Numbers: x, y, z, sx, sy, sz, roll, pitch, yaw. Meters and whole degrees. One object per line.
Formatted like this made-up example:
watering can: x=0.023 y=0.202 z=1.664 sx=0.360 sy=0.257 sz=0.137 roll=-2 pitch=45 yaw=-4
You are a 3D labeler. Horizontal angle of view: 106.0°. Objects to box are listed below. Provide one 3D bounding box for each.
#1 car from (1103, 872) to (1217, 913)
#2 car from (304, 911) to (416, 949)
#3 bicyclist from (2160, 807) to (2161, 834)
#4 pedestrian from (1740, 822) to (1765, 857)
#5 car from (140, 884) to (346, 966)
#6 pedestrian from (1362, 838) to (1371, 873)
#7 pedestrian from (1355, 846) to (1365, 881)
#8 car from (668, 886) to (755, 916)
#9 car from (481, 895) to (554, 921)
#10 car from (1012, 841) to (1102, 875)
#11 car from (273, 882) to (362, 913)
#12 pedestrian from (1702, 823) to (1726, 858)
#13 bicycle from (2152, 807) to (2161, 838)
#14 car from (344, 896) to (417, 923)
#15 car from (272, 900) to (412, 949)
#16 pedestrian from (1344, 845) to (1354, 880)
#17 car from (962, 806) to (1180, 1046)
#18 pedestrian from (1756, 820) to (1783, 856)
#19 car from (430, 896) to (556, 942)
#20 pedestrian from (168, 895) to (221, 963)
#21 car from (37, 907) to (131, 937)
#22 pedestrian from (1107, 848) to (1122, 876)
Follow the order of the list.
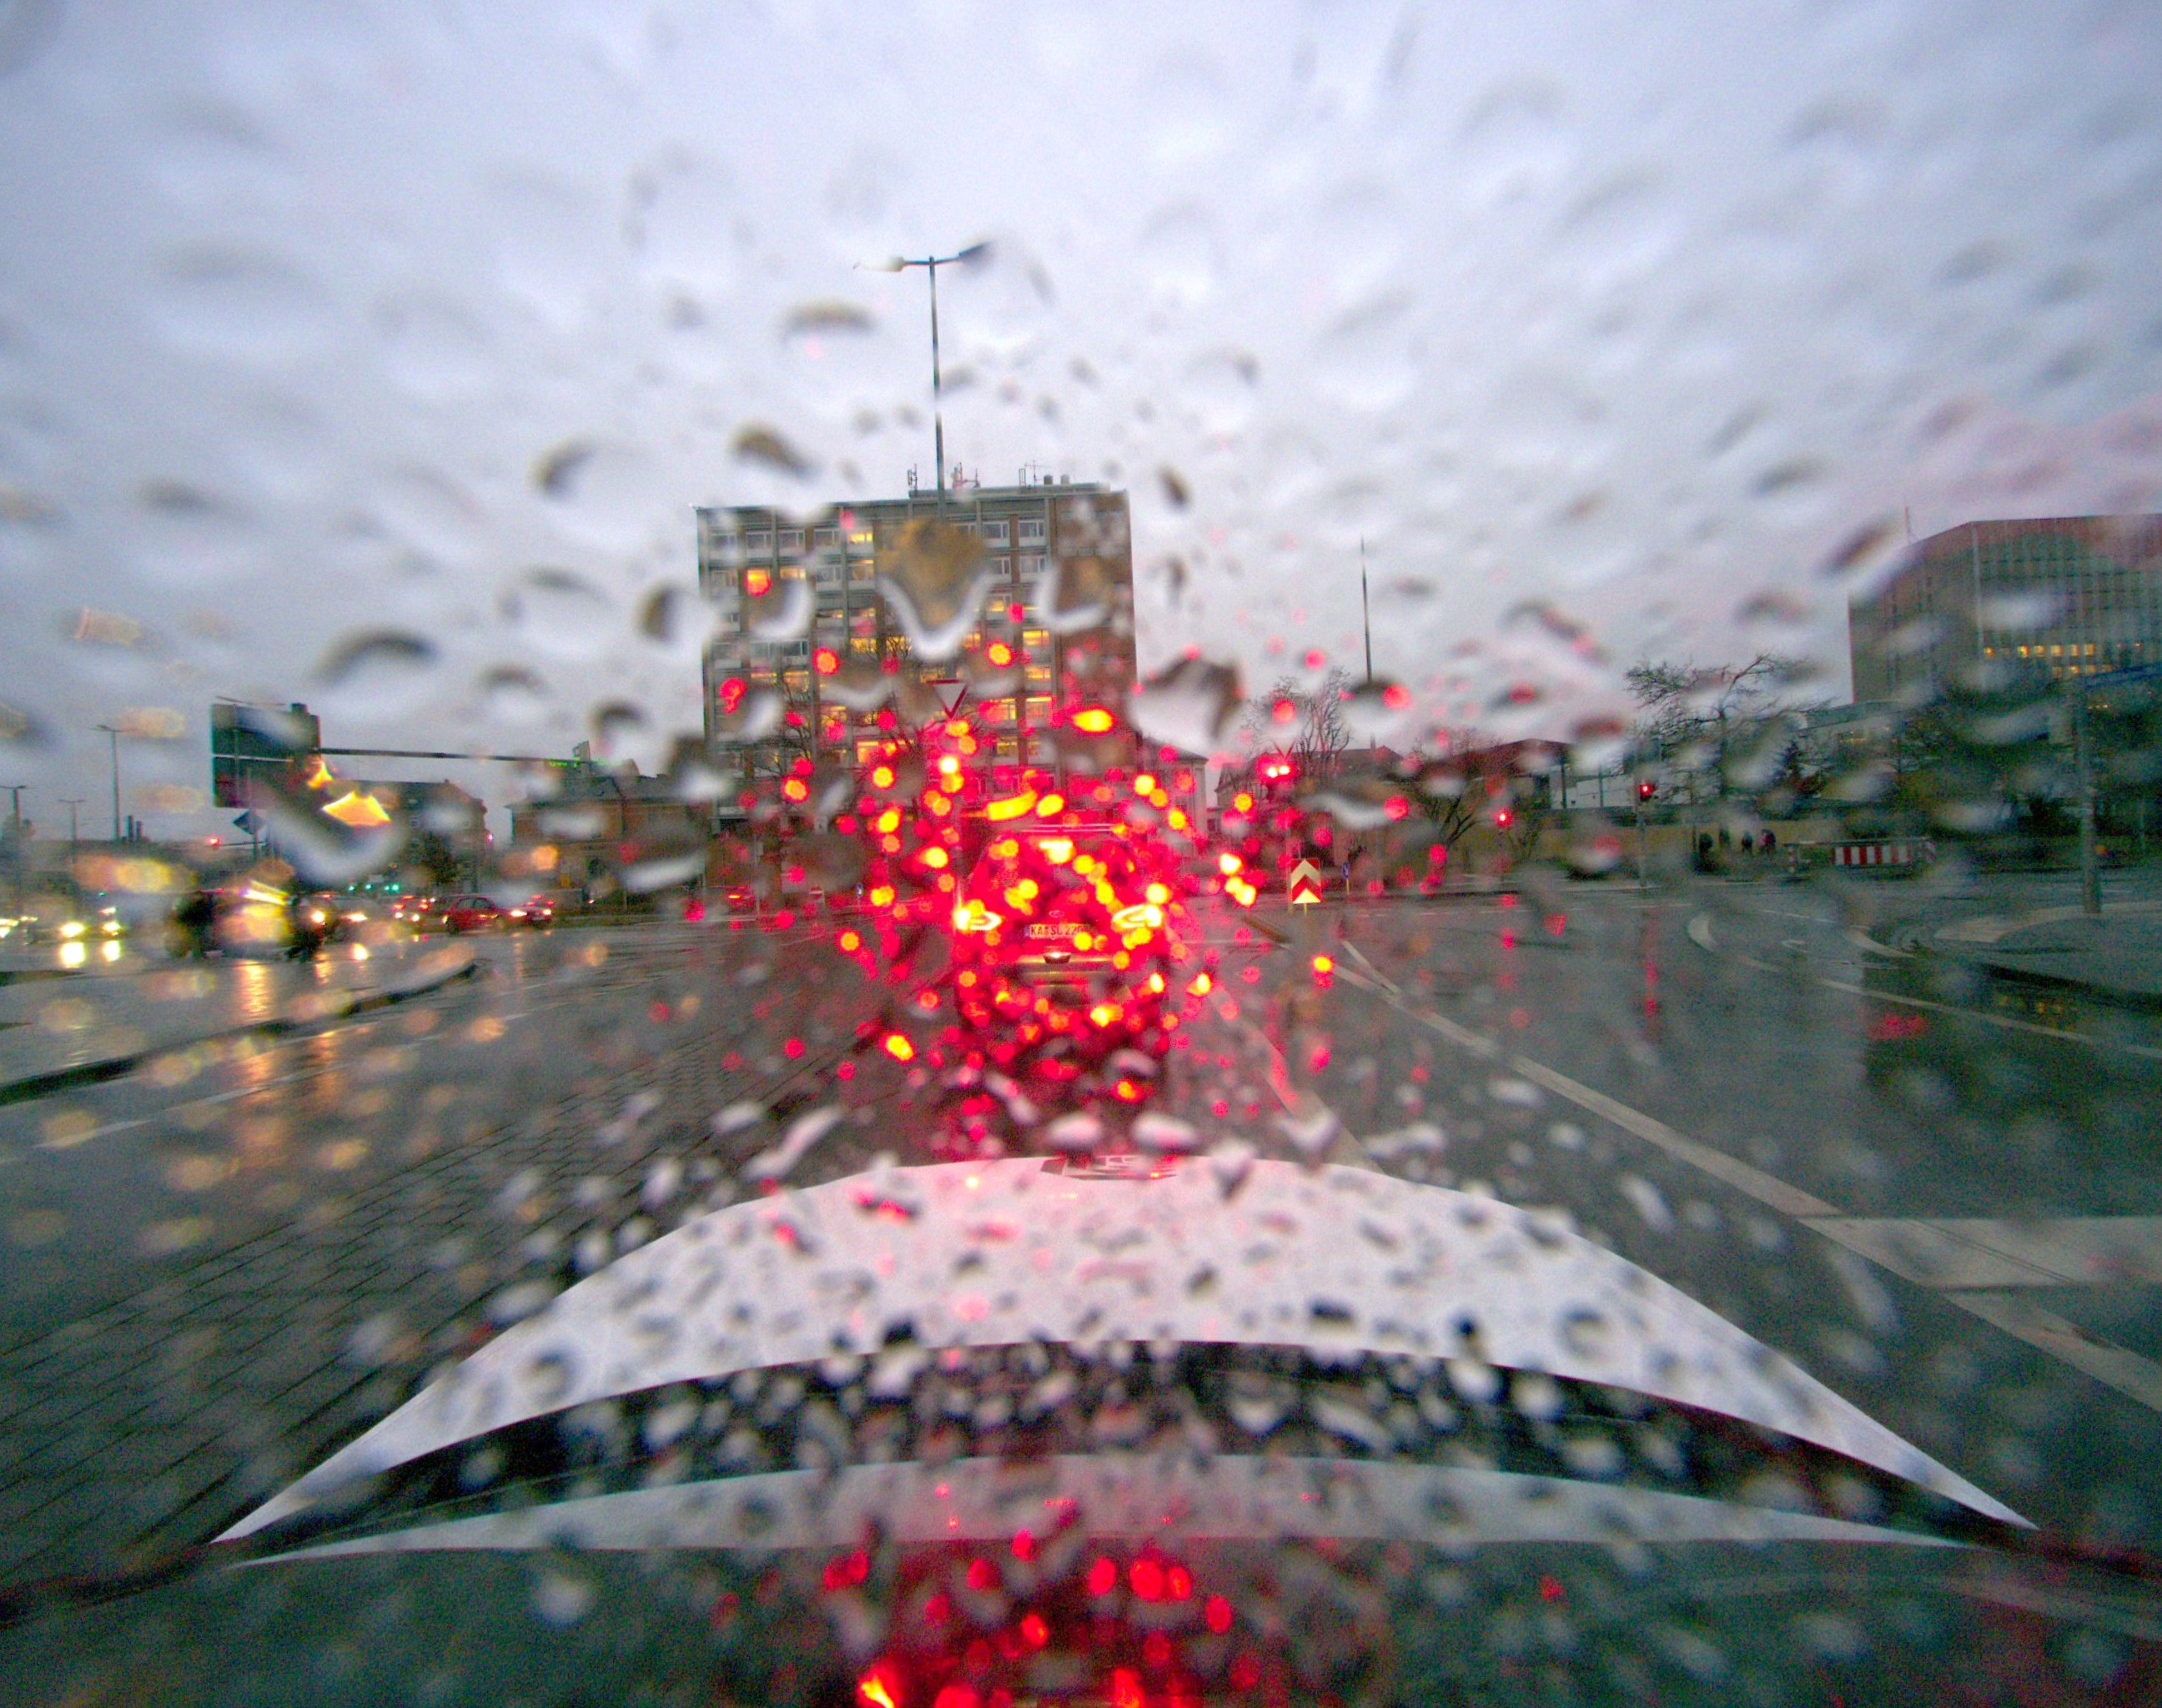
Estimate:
car: x=3.315 y=1.593 z=33.763 sx=4.401 sy=1.580 sz=1.975 roll=-1 pitch=-2 yaw=15
car: x=-30.038 y=3.157 z=33.958 sx=3.800 sy=1.449 sz=1.610 roll=-1 pitch=-2 yaw=14
bicyclist: x=51.757 y=-1.612 z=38.469 sx=0.694 sy=1.246 sz=0.609 roll=-1 pitch=-2 yaw=10
pedestrian: x=34.104 y=-0.735 z=41.381 sx=0.620 sy=1.725 sz=0.762 roll=-1 pitch=-2 yaw=8
car: x=-25.178 y=2.082 z=24.513 sx=4.981 sy=2.282 sz=2.268 roll=-2 pitch=-2 yaw=18
pedestrian: x=15.161 y=0.097 z=43.249 sx=0.434 sy=1.839 sz=0.462 roll=-2 pitch=-2 yaw=20
pedestrian: x=14.413 y=0.497 z=42.104 sx=0.454 sy=1.839 sz=0.441 roll=-2 pitch=-2 yaw=19
car: x=-18.449 y=2.356 z=40.706 sx=3.762 sy=1.398 sz=1.570 roll=-1 pitch=-2 yaw=14
car: x=-31.083 y=2.969 z=44.956 sx=3.384 sy=1.398 sz=1.475 roll=-2 pitch=-4 yaw=17
car: x=-1.546 y=0.300 z=52.624 sx=5.516 sy=2.024 sz=2.004 roll=-1 pitch=-2 yaw=7
car: x=-50.814 y=2.888 z=54.207 sx=5.114 sy=1.913 sz=2.008 roll=-2 pitch=-1 yaw=17
pedestrian: x=31.970 y=-0.666 z=41.147 sx=0.620 sy=1.725 sz=0.762 roll=-1 pitch=-2 yaw=8
bicycle: x=52.073 y=-1.527 z=38.429 sx=1.911 sy=1.423 sz=0.594 roll=-1 pitch=-2 yaw=10
car: x=-40.966 y=3.224 z=47.636 sx=3.883 sy=1.486 sz=1.476 roll=-2 pitch=-2 yaw=19
car: x=-27.003 y=2.559 z=29.802 sx=4.037 sy=1.684 sz=1.766 roll=-1 pitch=-2 yaw=13
pedestrian: x=14.269 y=0.475 z=43.296 sx=0.434 sy=1.839 sz=0.462 roll=-2 pitch=-2 yaw=19
car: x=-0.013 y=0.548 z=8.245 sx=1.641 sy=1.819 sz=4.002 roll=-1 pitch=0 yaw=2
pedestrian: x=33.823 y=-0.764 z=40.019 sx=0.620 sy=1.725 sz=0.762 roll=-1 pitch=-2 yaw=8
car: x=-22.929 y=2.522 z=31.781 sx=4.040 sy=1.684 sz=1.766 roll=-1 pitch=-2 yaw=14
pedestrian: x=-22.841 y=1.904 z=20.993 sx=0.456 sy=1.697 sz=0.801 roll=-2 pitch=-2 yaw=25
car: x=-51.489 y=3.487 z=42.062 sx=3.611 sy=1.447 sz=1.610 roll=-1 pitch=-2 yaw=14
pedestrian: x=1.994 y=0.497 z=48.662 sx=0.687 sy=1.661 sz=0.672 roll=0 pitch=-2 yaw=-23
